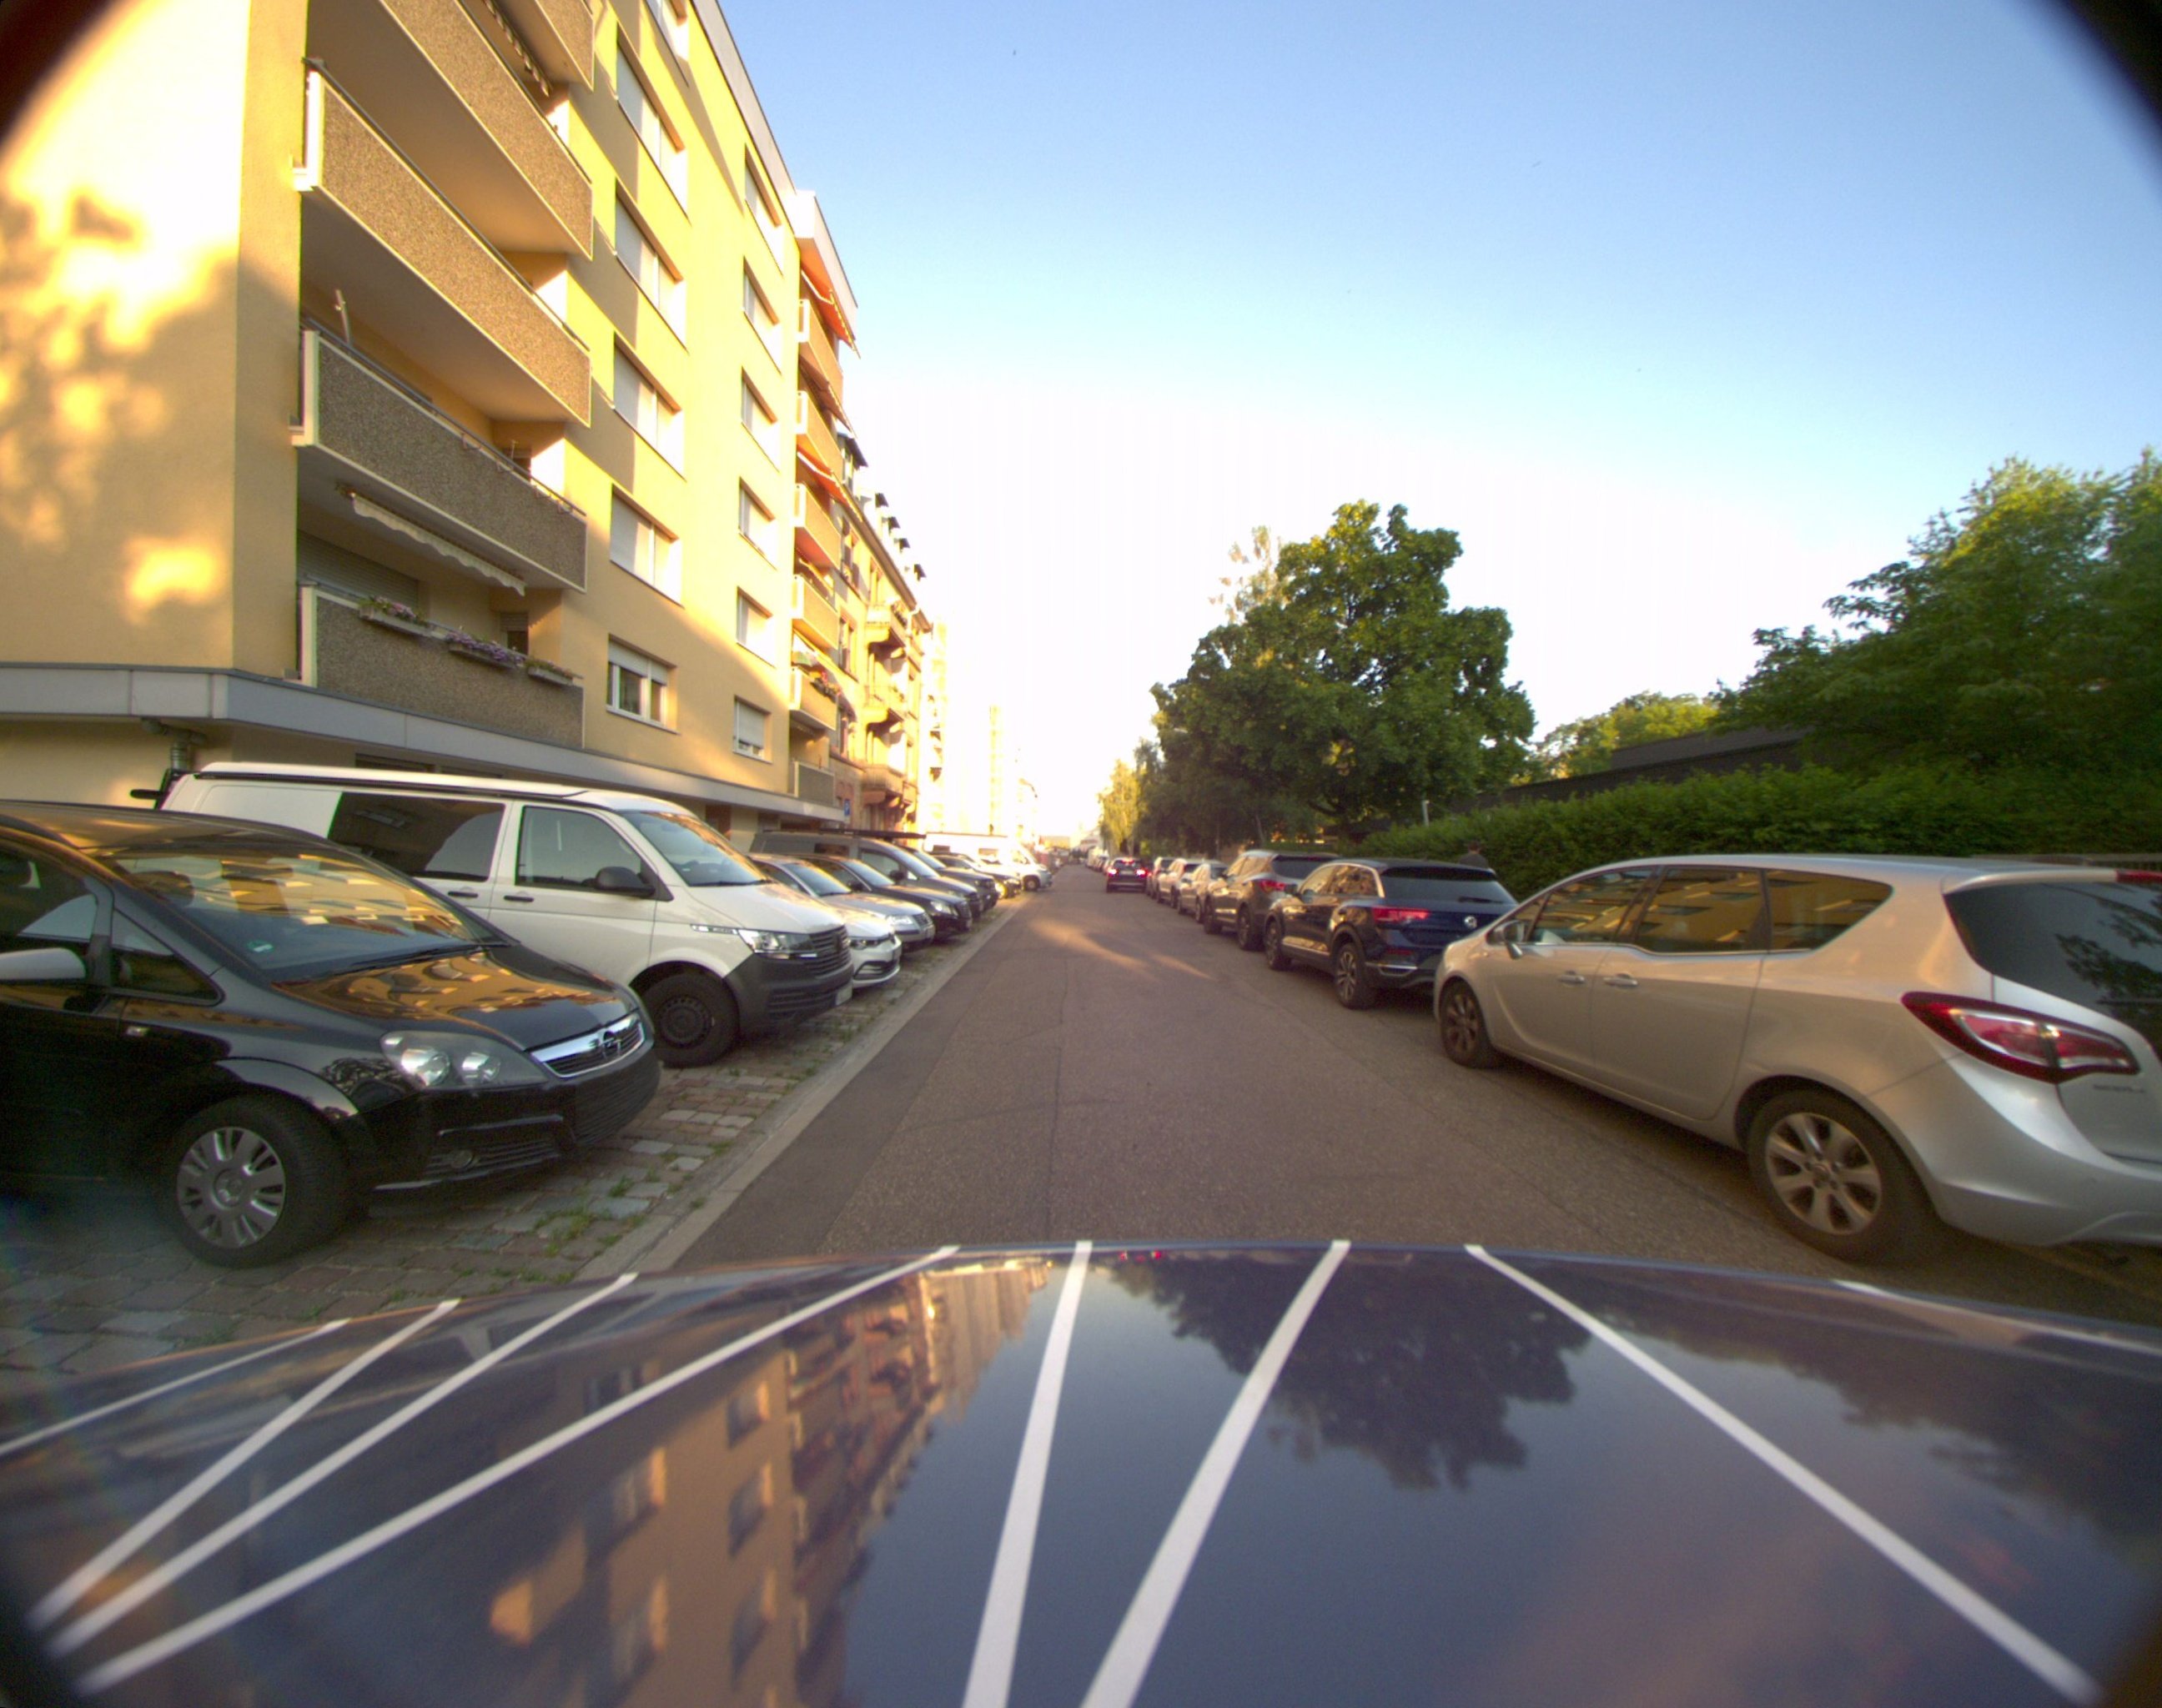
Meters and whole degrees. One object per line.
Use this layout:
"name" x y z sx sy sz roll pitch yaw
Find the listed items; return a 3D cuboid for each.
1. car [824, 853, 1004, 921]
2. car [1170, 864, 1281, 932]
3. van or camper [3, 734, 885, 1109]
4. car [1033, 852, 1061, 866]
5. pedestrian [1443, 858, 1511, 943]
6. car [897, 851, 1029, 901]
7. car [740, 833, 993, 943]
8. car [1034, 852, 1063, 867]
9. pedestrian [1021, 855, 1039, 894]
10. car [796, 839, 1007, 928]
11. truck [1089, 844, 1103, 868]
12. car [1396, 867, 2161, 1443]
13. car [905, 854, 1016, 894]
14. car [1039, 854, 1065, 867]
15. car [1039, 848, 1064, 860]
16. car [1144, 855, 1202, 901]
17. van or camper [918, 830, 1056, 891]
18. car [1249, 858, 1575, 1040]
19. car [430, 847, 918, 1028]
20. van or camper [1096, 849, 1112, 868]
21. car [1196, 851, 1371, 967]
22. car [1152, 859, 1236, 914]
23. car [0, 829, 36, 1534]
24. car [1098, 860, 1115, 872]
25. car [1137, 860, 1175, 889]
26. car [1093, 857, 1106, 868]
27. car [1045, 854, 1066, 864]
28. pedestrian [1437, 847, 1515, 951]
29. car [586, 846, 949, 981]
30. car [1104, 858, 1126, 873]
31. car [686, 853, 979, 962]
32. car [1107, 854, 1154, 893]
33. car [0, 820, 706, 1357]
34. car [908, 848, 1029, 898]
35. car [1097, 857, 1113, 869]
"car" -4.457 0.856 20.717 4.414 1.545 1.845 2 2 2
"car" 3.530 1.029 19.361 1.738 1.418 4.285 2 0 -3
"van or camper" -4.469 0.471 6.098 5.147 2.155 2.039 4 1 -2
"car" -4.917 0.754 109.580 3.997 2.002 2.000 0 0 -1
"pedestrian" 7.366 0.845 14.171 0.750 1.499 0.901 -2 0 -2
"car" -4.183 0.774 27.423 4.414 1.545 1.845 2 2 0
"car" -4.280 0.639 15.678 4.649 1.970 1.845 2 2 -1
"car" -4.535 0.761 107.036 3.997 2.002 2.000 0 0 -1
"pedestrian" -2.284 0.898 34.019 0.748 1.693 0.558 -2 1 -4
"car" -4.132 0.673 18.067 4.524 1.852 1.845 2 0 -1
"truck" 2.483 0.336 128.687 2.183 3.860 4.926 0 0 0
"car" 3.604 0.915 4.245 1.738 1.558 4.128 2 0 -3
"car" -5.095 0.827 32.519 4.414 1.610 1.845 0 2 1
"car" -4.545 0.953 118.093 3.997 2.002 2.000 0 0 -1
"car" -4.664 -0.011 121.238 3.997 2.002 2.000 0 0 -1
"car" 3.508 0.893 29.671 1.738 1.621 3.980 2 0 0
"van or camper" -4.281 0.301 35.377 6.075 2.489 2.050 2 0 0
"car" 3.406 0.863 8.824 1.738 1.558 4.166 2 0 -3
"car" -4.249 0.827 8.486 4.415 1.622 1.845 2 2 -1
"van or camper" 2.988 0.620 101.541 1.825 2.400 4.291 2 0 -1
"car" 3.421 0.847 13.730 1.738 1.720 4.321 2 0 -3
"car" 3.498 0.954 24.287 1.764 1.534 4.279 2 0 -3
"car" -4.651 0.669 0.777 4.416 1.652 1.844 3 2 -3
"car" 3.016 1.416 90.041 1.738 1.358 4.291 2 0 -1
"car" 3.986 1.068 40.754 1.624 1.417 3.415 2 0 0
"car" 2.680 1.161 110.747 1.738 1.502 4.291 2 0 -1
"car" -5.129 0.938 152.935 3.997 2.002 2.000 0 0 -1
"pedestrian" 6.839 0.758 13.201 0.901 1.722 0.750 -2 1 -2
"car" -4.273 0.780 10.904 4.415 1.584 1.845 2 2 -1
"car" 3.152 1.079 71.944 1.738 1.358 4.291 2 0 -1
"car" -4.102 0.858 13.087 4.415 1.554 1.845 2 2 -1
"car" 2.337 0.878 35.137 1.736 1.621 4.129 2 0 9
"car" -4.323 0.764 3.386 4.338 1.652 1.780 3 2 -3
"car" -4.379 0.706 29.992 4.414 1.738 1.846 2 1 2
"car" 2.970 1.100 96.043 1.738 1.502 4.291 2 0 -1
